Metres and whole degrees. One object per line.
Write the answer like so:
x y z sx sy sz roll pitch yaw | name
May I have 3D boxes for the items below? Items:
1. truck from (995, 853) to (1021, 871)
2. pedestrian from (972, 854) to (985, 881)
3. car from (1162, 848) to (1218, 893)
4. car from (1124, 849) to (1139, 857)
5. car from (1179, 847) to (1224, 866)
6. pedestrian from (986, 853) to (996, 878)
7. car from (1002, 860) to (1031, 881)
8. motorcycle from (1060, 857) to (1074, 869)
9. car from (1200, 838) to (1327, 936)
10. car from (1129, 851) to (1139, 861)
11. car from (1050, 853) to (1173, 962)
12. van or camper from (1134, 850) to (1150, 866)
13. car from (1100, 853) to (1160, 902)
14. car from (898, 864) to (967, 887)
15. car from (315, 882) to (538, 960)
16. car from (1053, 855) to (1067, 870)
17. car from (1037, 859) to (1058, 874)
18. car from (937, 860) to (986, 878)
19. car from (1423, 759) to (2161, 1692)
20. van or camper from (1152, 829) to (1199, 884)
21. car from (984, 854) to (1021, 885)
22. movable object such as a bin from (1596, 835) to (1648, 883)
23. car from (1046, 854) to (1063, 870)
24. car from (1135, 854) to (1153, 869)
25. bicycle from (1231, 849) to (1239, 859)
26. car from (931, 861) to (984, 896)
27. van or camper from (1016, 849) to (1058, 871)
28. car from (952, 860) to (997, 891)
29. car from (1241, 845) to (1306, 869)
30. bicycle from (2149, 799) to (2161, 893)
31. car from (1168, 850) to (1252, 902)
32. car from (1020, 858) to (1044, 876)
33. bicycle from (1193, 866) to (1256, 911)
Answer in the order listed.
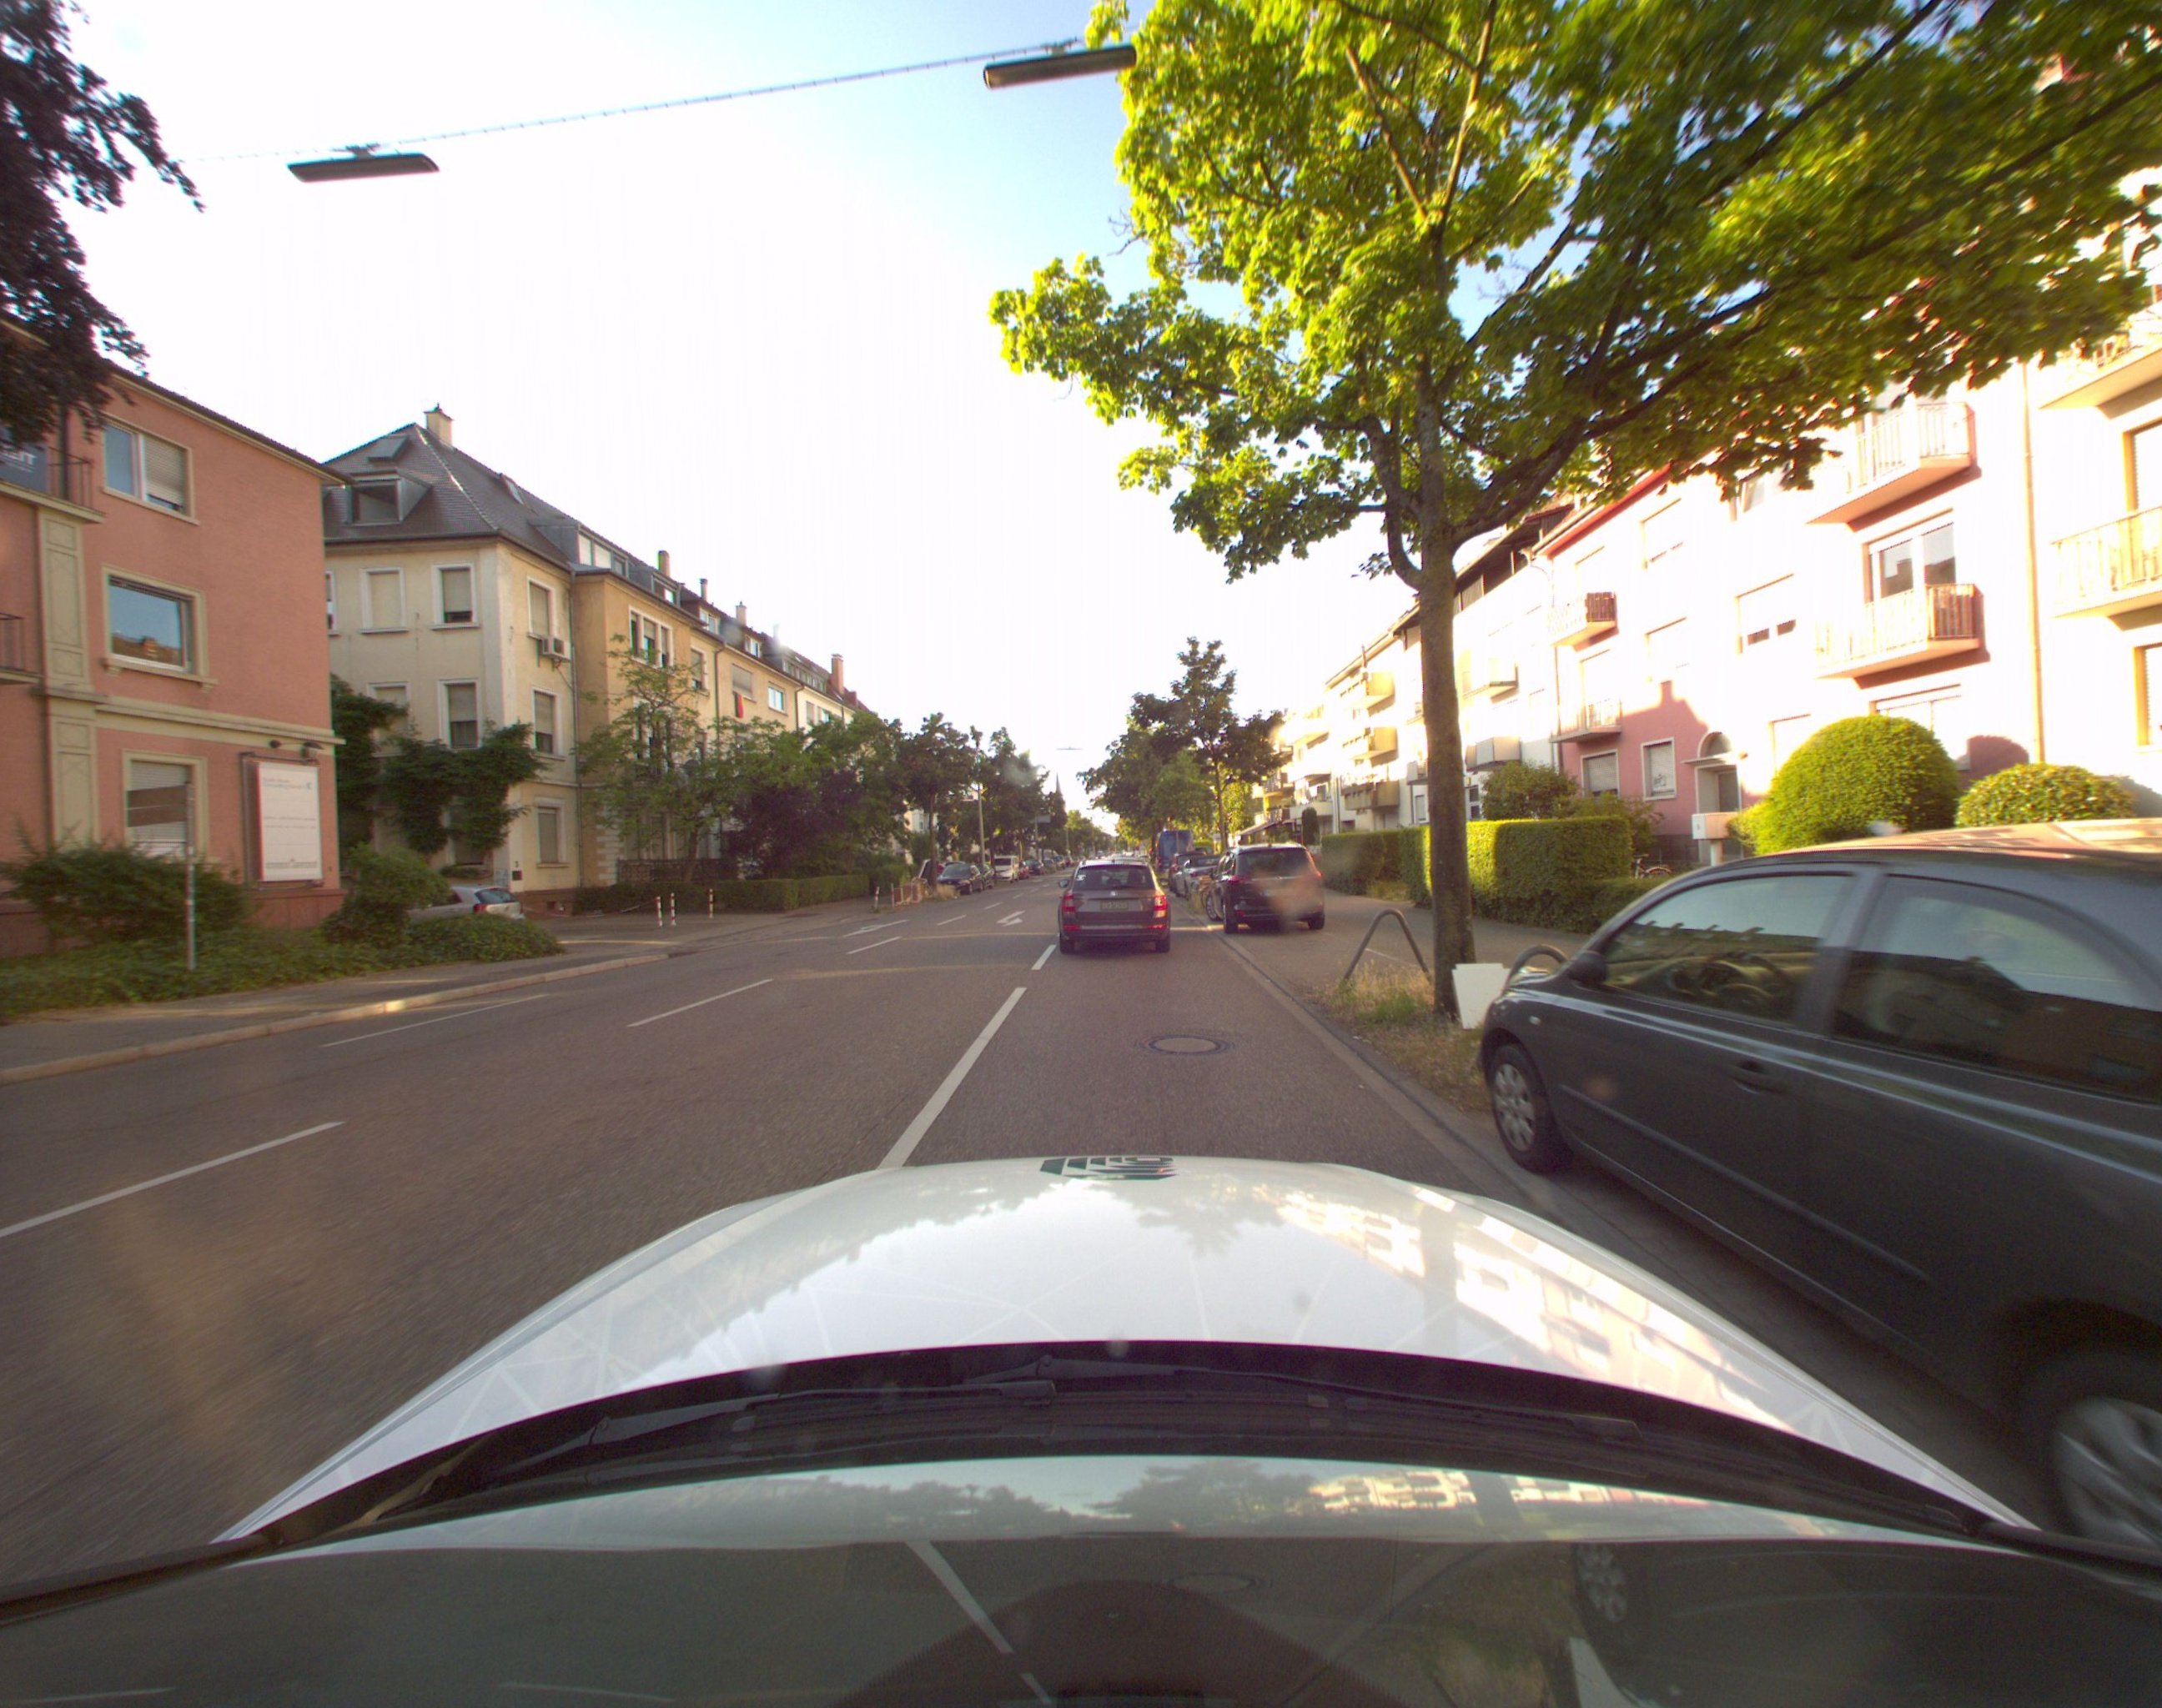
-9.073 1.028 101.016 2.902 2.093 1.547 -2 0 2 | truck
-7.879 1.014 62.614 0.764 2.013 0.976 -2 0 2 | pedestrian
4.341 0.649 32.790 1.766 1.642 3.758 -2 -1 1 | car
12.044 -0.305 192.998 1.858 1.757 4.205 -2 0 30 | car
13.146 0.241 88.749 4.555 1.892 1.899 -2 0 -25 | car
-7.418 0.967 67.042 0.624 2.013 0.616 -2 0 2 | pedestrian
-4.921 1.255 62.797 1.710 1.421 3.789 -2 0 3 | car
-1.981 1.259 114.347 0.770 1.512 2.006 -2 0 -40 | motorcycle
3.499 0.557 16.371 1.725 1.651 4.294 -2 0 3 | car
9.669 0.393 148.702 1.723 1.815 3.952 -2 0 1 | car
0.588 0.769 13.689 1.722 1.493 3.955 -2 0 4 | car
8.407 0.557 112.909 1.985 2.013 4.003 -2 0 3 | van or camper
1.619 0.760 28.072 1.724 1.493 3.949 -2 0 -1 | car
-10.499 1.488 57.706 4.712 1.362 1.993 -2 0 -11 | car
-14.728 1.471 18.476 3.487 1.486 1.815 -2 0 -2 | car
-2.686 1.113 104.000 1.501 1.757 3.696 -2 0 3 | car
-3.532 1.275 86.156 1.747 1.420 4.429 -2 0 3 | car
-10.523 1.333 71.947 3.975 1.479 1.999 -1 0 -1 | car
2.701 0.581 2.680 1.725 1.551 3.649 -2 0 3 | car
4.946 0.143 43.393 2.059 2.675 5.994 -2 -1 3 | van or camper
-5.301 1.019 55.541 1.762 1.919 4.463 -2 0 3 | car
11.845 0.109 17.847 0.609 1.002 0.797 -2 0 2 | movable object such as a bin
-3.194 0.957 99.346 1.743 1.740 3.593 -2 0 3 | car
6.896 0.799 89.015 1.812 1.413 4.117 -2 0 5 | car
14.832 -0.021 78.376 0.341 0.950 1.580 1 -1 -3 | bicycle
-6.001 1.180 40.055 1.743 1.502 4.200 -2 0 3 | car
-8.109 1.066 150.795 7.614 3.874 2.000 -2 0 0 | van or camper
-5.839 1.151 45.001 1.743 1.502 3.981 -2 0 3 | car
13.182 0.195 55.965 3.975 1.462 1.824 -2 0 -1 | car
12.920 -0.114 9.086 1.517 1.056 0.425 -2 0 -3 | bicycle
4.127 0.655 26.780 1.914 1.486 4.744 -2 0 -1 | car
-4.478 1.185 74.603 1.710 1.497 4.251 -2 0 3 | car
3.622 0.869 20.590 1.477 1.059 0.410 -2 0 -11 | bicycle
